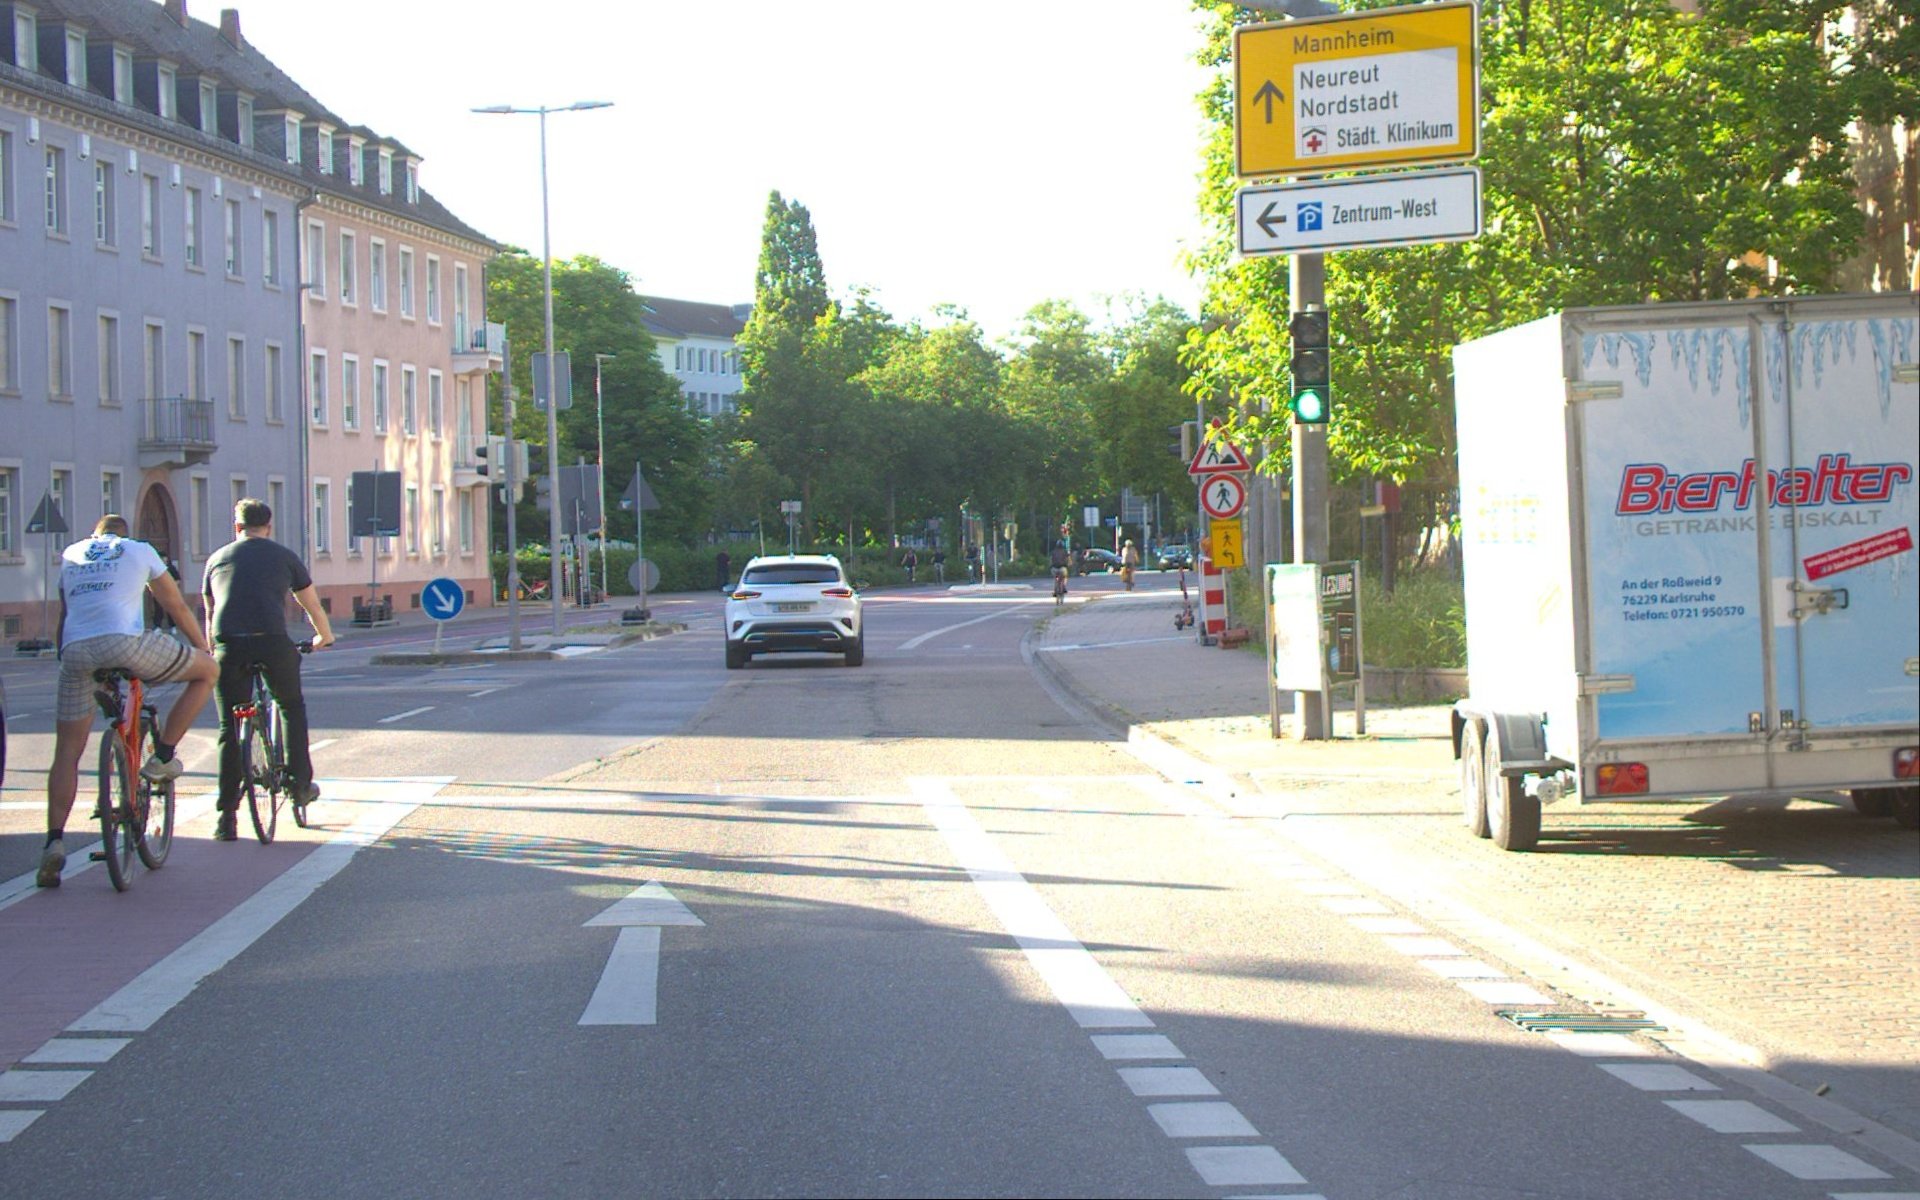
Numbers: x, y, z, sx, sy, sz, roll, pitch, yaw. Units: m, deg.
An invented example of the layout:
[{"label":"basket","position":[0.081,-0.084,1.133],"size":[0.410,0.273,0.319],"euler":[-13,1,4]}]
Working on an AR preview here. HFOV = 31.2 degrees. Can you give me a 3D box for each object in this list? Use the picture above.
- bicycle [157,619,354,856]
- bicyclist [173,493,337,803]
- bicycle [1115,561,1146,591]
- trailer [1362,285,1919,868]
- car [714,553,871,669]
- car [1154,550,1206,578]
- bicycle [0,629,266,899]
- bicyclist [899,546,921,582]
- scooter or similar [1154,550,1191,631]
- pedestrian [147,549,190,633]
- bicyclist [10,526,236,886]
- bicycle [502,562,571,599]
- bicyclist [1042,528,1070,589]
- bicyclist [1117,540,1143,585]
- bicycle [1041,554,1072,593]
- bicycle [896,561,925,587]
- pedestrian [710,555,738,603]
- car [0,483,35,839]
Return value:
[{"label":"bicycle","position":[-3.740,0.698,18.399],"size":[0.642,1.151,2.077],"euler":[0,1,-1]},{"label":"bicyclist","position":[-3.752,0.244,18.350],"size":[0.670,1.602,0.825],"euler":[-2,1,-1]},{"label":"bicycle","position":[5.862,-0.841,118.246],"size":[0.753,1.022,1.868],"euler":[0,0,13]},{"label":"trailer","position":[3.500,-0.158,17.674],"size":[2.079,2.519,4.492],"euler":[-3,1,-2]},{"label":"car","position":[-2.235,0.125,46.749],"size":[1.993,1.448,4.000],"euler":[-2,1,-1]},{"label":"car","position":[12.144,-1.983,189.377],"size":[1.813,1.415,4.551],"euler":[-1,1,17]},{"label":"bicycle","position":[-3.858,0.732,16.122],"size":[0.828,1.139,1.970],"euler":[0,1,-1]},{"label":"bicyclist","position":[-2.123,-1.541,146.442],"size":[0.738,1.480,0.665],"euler":[-3,1,13]},{"label":"scooter or similar","position":[3.522,-0.169,56.834],"size":[0.555,1.304,1.832],"euler":[-1,1,4]},{"label":"pedestrian","position":[-17.759,-0.206,77.134],"size":[0.631,1.840,1.013],"euler":[2,1,5]},{"label":"bicyclist","position":[-3.859,0.469,15.905],"size":[0.803,1.602,0.825],"euler":[-2,1,-1]},{"label":"bicycle","position":[-14.941,-0.684,121.201],"size":[2.321,1.225,0.560],"euler":[-1,1,12]},{"label":"bicyclist","position":[2.579,-1.119,92.252],"size":[0.636,1.609,1.283],"euler":[0,1,6]},{"label":"bicyclist","position":[5.846,-1.298,118.255],"size":[0.748,1.532,0.969],"euler":[0,1,13]},{"label":"bicycle","position":[2.594,-0.717,92.400],"size":[0.643,1.021,2.212],"euler":[0,1,6]},{"label":"bicycle","position":[-2.113,-1.105,146.367],"size":[0.737,0.992,2.108],"euler":[-2,2,13]},{"label":"pedestrian","position":[-9.378,-0.838,136.629],"size":[0.856,1.845,1.001],"euler":[-2,1,11]},{"label":"car","position":[-6.083,0.361,16.742],"size":[2.068,1.909,5.034],"euler":[-2,0,-4]}]
